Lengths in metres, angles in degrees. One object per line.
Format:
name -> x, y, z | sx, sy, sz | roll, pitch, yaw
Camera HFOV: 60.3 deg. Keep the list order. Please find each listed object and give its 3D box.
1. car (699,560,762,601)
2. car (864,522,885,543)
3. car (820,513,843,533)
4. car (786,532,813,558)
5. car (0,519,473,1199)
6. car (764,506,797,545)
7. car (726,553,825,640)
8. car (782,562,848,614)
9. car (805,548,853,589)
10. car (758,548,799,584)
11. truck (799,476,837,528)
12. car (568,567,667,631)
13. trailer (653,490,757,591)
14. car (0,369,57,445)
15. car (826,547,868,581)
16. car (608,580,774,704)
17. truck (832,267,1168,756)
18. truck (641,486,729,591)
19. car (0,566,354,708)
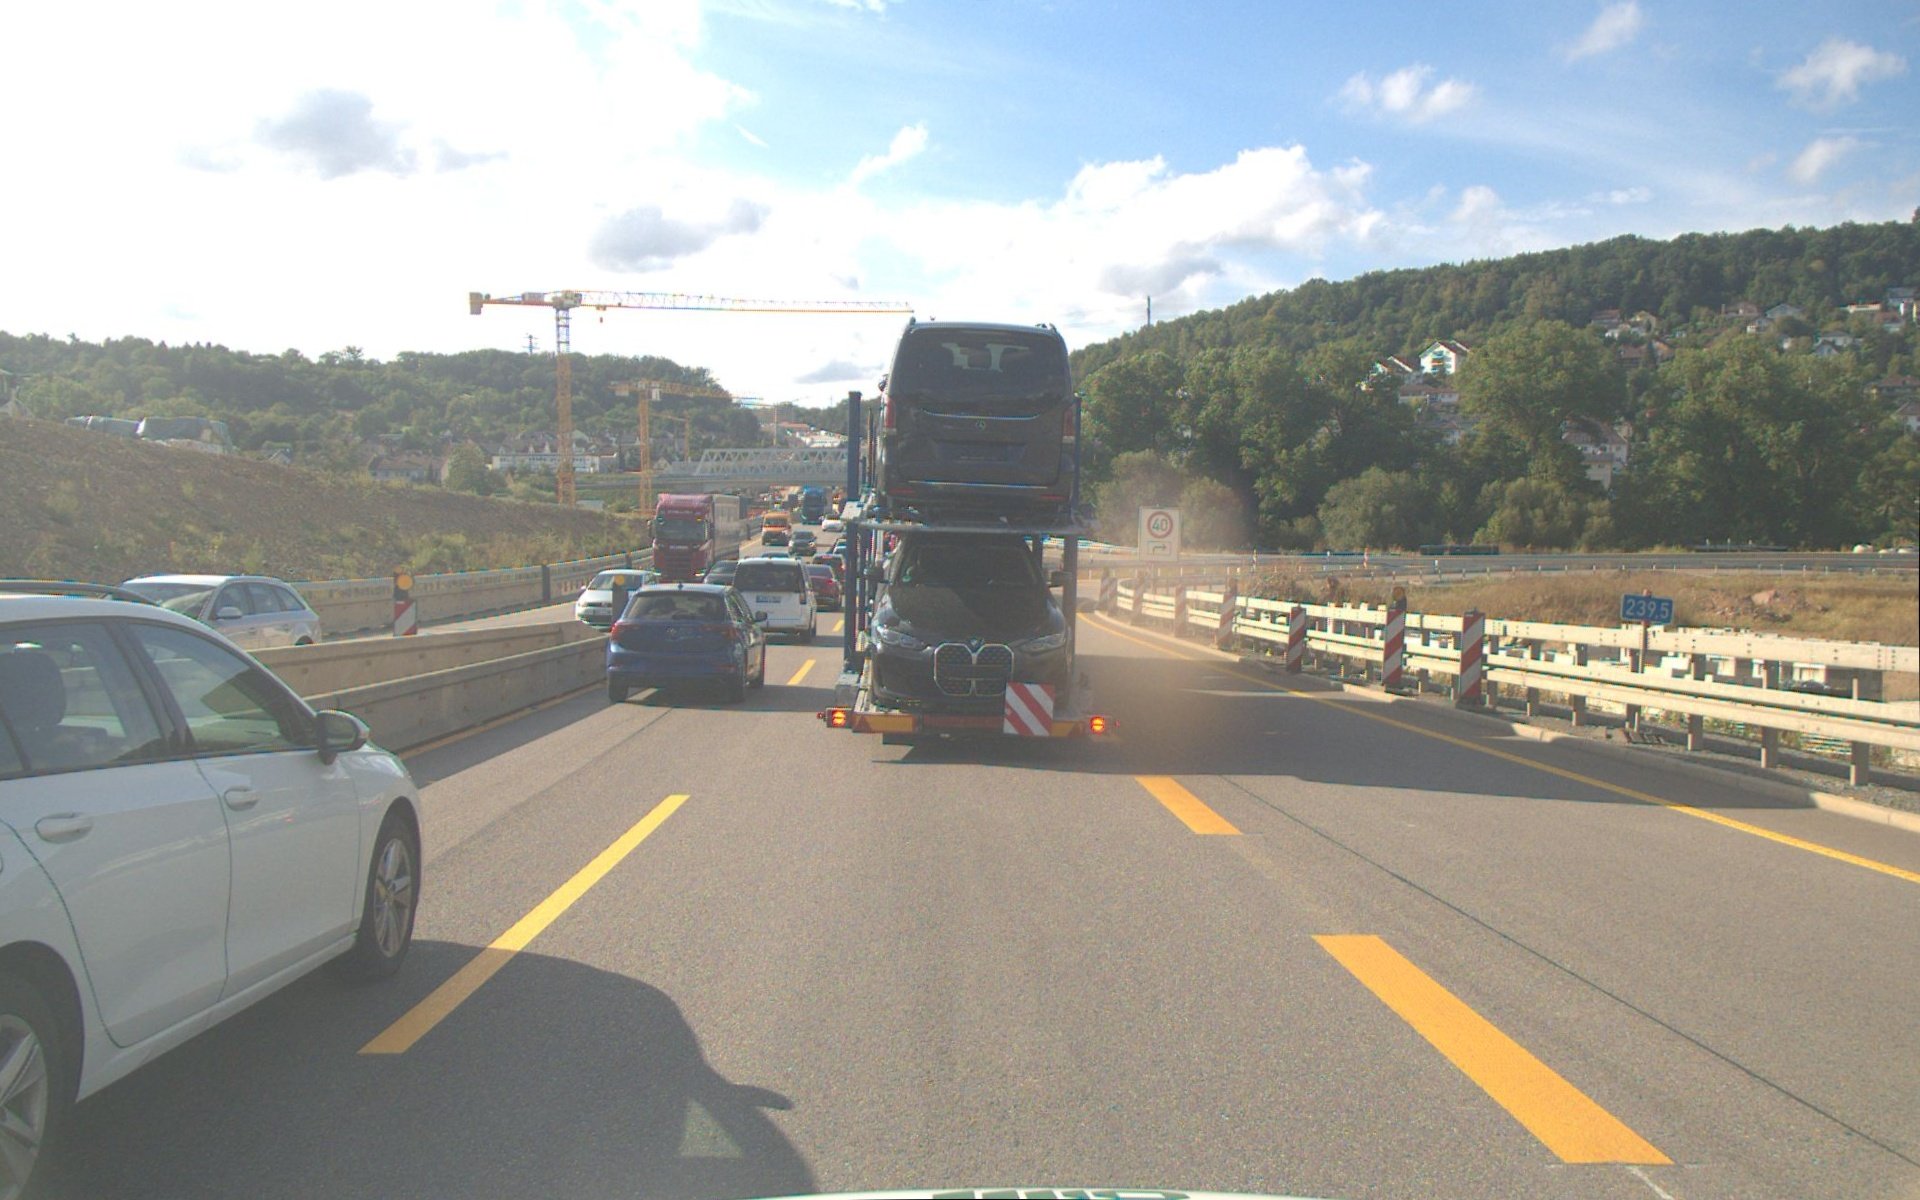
car -> -8.749, -0.733, 63.441 | 1.784, 1.465, 4.614 | 1, 1, 0
car -> -7.758, -6.104, 149.625 | 1.808, 1.677, 4.501 | 1, 1, -4
car -> -12.353, -7.386, 158.933 | 1.953, 1.713, 3.999 | 1, 1, -1
car -> -11.111, -3.793, 114.905 | 1.808, 1.677, 4.232 | 1, 1, -5
car -> -2.913, 0.610, 4.684 | 1.734, 1.517, 4.515 | 0, -1, 0
car -> -14.095, -5.810, 130.369 | 1.953, 2.929, 6.064 | 1, 2, -1
car -> -4.092, -0.049, 37.218 | 1.786, 1.823, 3.999 | 1, -1, 0
car -> -4.822, -0.370, 55.389 | 1.953, 1.584, 4.399 | 1, -1, -2
car -> -5.517, -1.314, 70.034 | 1.954, 1.579, 3.996 | 1, -1, -4
car -> -9.023, -1.674, 82.527 | 1.808, 1.677, 4.502 | 1, 1, -3
truck -> -16.035, -10.974, 187.230 | 2.763, 4.872, 13.056 | 1, -1, 2
car -> -8.402, -0.043, 40.875 | 1.719, 1.465, 3.804 | 1, 1, -1
trailer -> -12.435, -2.813, 81.988 | 2.916, 4.499, 13.816 | 2, 1, 0
car -> -35.056, -7.023, 59.812 | 1.954, 2.177, 5.319 | -4, -1, -2
car -> -5.974, -1.932, 88.112 | 1.953, 1.694, 4.000 | 1, 2, -1
car -> -3.429, 0.478, 21.682 | 1.687, 1.446, 3.998 | 1, 1, -3
truck -> -0.012, -0.829, 23.411 | 2.698, 4.023, 18.882 | 2, 0, -2
truck -> -12.409, -2.709, 75.212 | 2.855, 4.463, 6.286 | 2, 1, -1
car -> -9.110, 0.367, 19.681 | 1.813, 1.465, 4.561 | 1, 1, 4
